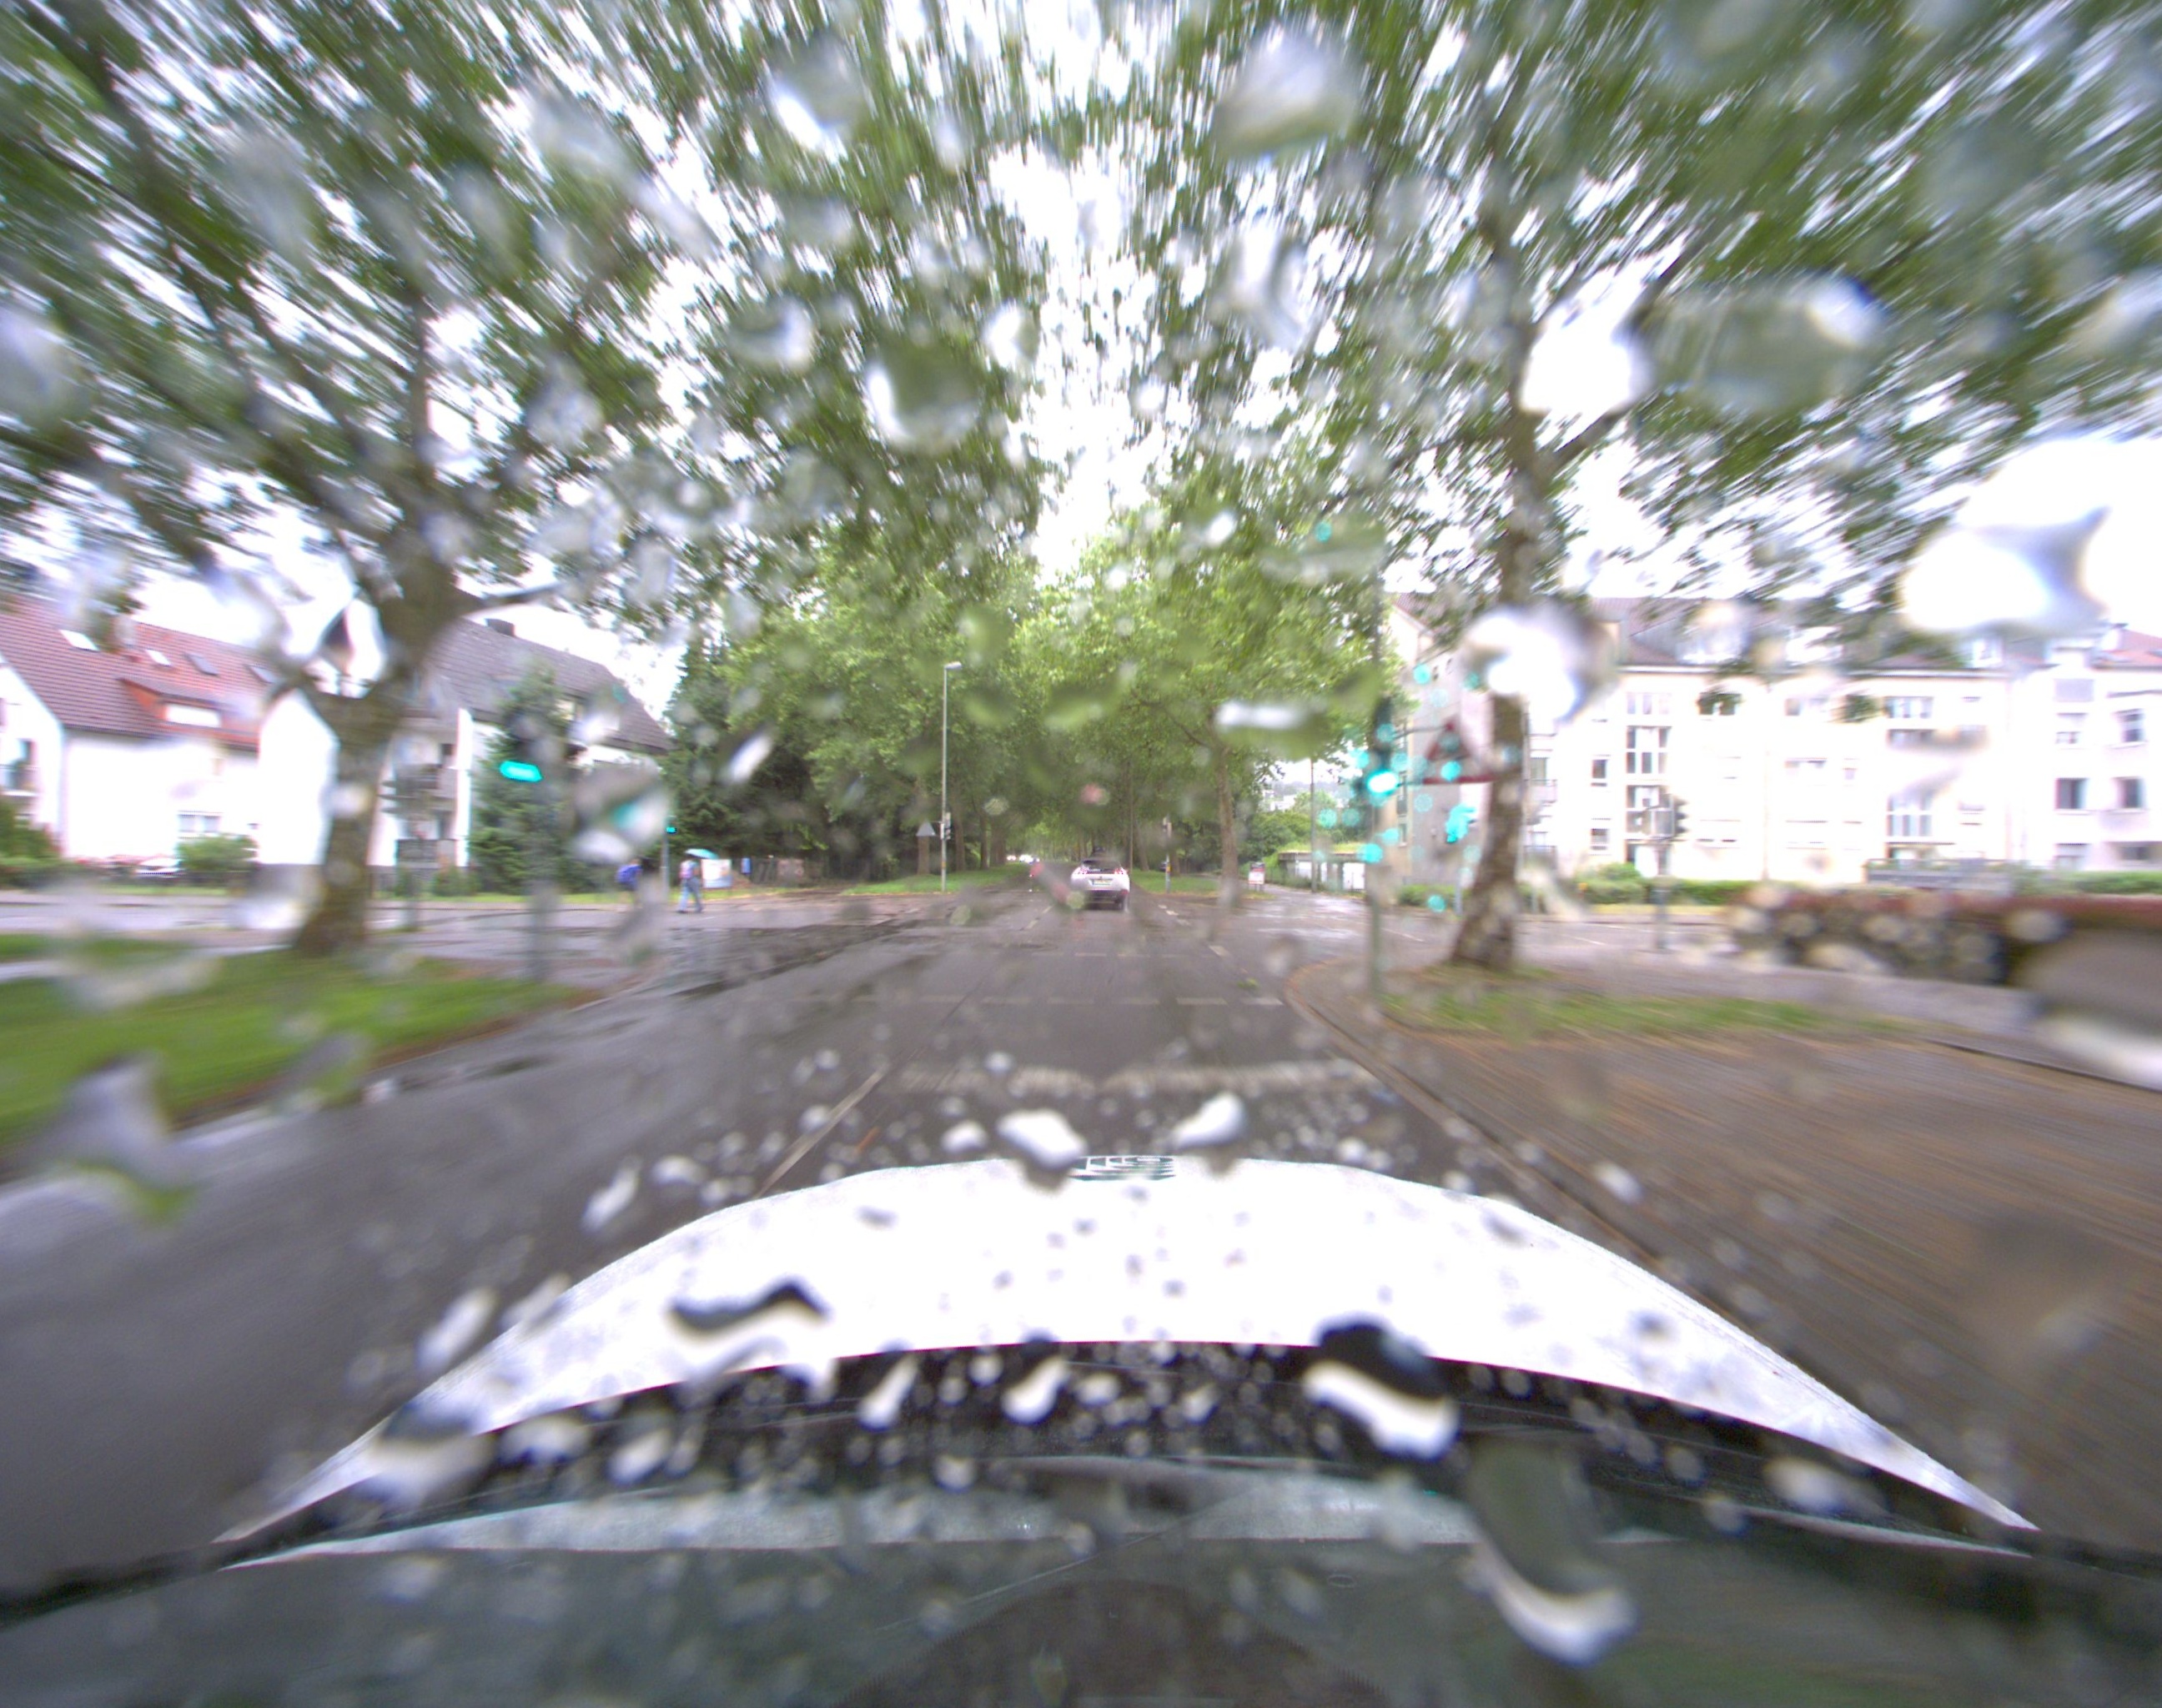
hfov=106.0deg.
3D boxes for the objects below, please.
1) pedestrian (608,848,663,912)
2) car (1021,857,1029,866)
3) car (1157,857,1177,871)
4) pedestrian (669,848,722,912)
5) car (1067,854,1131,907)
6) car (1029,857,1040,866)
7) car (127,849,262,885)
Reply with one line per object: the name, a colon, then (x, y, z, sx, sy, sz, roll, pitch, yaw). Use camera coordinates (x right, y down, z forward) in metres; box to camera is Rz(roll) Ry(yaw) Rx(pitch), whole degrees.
pedestrian: (-12.497, 0.721, 22.853, 1.028, 1.765, 0.880, 0, 0, 4)
car: (-13.447, 1.771, 195.720, 1.736, 2.014, 3.662, 1, 0, -1)
car: (9.753, 1.147, 92.630, 1.899, 1.510, 3.931, 0, 0, 0)
pedestrian: (-10.748, 0.712, 22.736, 1.028, 1.765, 0.839, 0, 0, 4)
car: (0.477, 0.808, 25.703, 1.776, 1.537, 4.053, 0, -1, -2)
car: (-8.817, 1.512, 155.359, 1.867, 1.677, 3.708, 0, 0, 0)
car: (-37.731, 0.546, 34.803, 1.609, 1.446, 3.660, -1, -1, 4)
